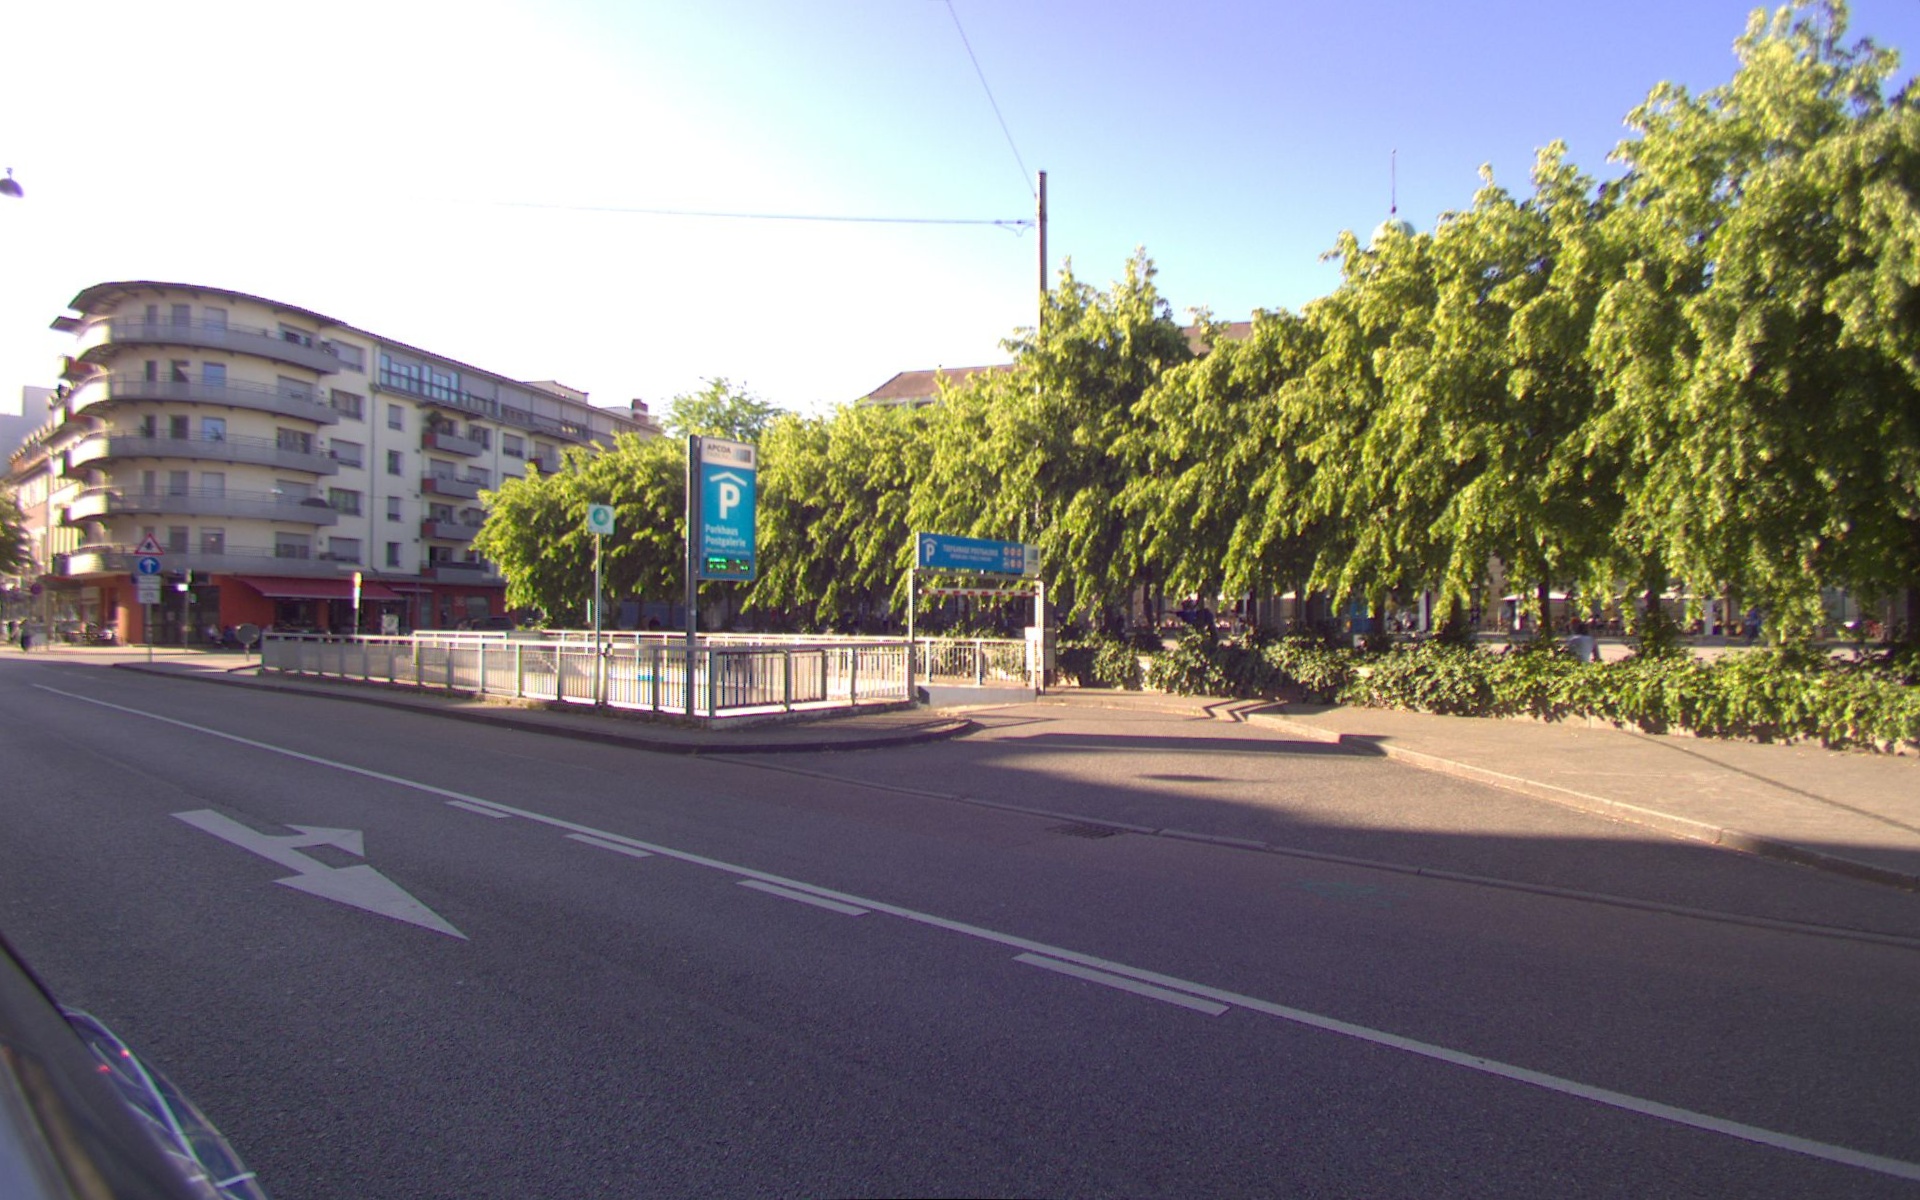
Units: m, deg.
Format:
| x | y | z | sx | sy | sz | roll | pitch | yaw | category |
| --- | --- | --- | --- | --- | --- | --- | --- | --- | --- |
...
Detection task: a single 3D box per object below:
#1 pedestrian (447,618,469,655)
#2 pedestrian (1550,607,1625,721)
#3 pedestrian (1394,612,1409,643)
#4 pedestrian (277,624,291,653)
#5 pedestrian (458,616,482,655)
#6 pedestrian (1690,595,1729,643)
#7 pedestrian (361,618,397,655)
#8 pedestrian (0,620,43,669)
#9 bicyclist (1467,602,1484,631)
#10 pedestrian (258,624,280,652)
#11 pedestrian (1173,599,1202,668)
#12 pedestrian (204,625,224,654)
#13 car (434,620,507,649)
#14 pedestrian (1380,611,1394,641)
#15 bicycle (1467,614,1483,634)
| x | y | z | sx | sy | sz | roll | pitch | yaw | category |
| --- | --- | --- | --- | --- | --- | --- | --- | --- | --- |
| -23.552 | 1.722 | 47.460 | 0.697 | 1.719 | 0.667 | -1 | -1 | 33 | pedestrian |
| 10.049 | 0.998 | 16.207 | 0.885 | 1.771 | 0.738 | 0 | -1 | -39 | pedestrian |
| 28.078 | 1.730 | 64.394 | 0.751 | 1.948 | 0.938 | -1 | -1 | 20 | pedestrian |
| -35.313 | 2.017 | 52.900 | 0.573 | 1.501 | 0.794 | 0 | -1 | -36 | pedestrian |
| -23.249 | 1.674 | 48.016 | 0.753 | 1.819 | 0.748 | -1 | -1 | 25 | pedestrian |
| 27.988 | 0.715 | 37.804 | 0.889 | 1.771 | 0.734 | -1 | -1 | 10 | pedestrian |
| -32.320 | 2.003 | 56.282 | 1.251 | 2.029 | 1.226 | -1 | -1 | 19 | pedestrian |
| -40.207 | 1.872 | 43.310 | 1.004 | 2.029 | 1.203 | -1 | 0 | -15 | pedestrian |
| 26.142 | 0.825 | 51.309 | 0.671 | 1.439 | 0.691 | -1 | -1 | 32 | bicyclist |
| -36.734 | 2.021 | 53.780 | 0.782 | 1.473 | 0.582 | 0 | -1 | 3 | pedestrian |
| 5.722 | 0.834 | 25.505 | 0.672 | 1.683 | 0.843 | -1 | -1 | 13 | pedestrian |
| -37.736 | 1.983 | 51.210 | 0.780 | 1.472 | 0.583 | 0 | -1 | -40 | pedestrian |
| -30.524 | 2.128 | 63.212 | 1.983 | 1.763 | 3.977 | -1 | -1 | 17 | car |
| 27.332 | 1.659 | 64.820 | 0.751 | 1.948 | 0.938 | -1 | -1 | 20 | pedestrian |
| 26.150 | 1.224 | 51.341 | 0.587 | 0.961 | 1.886 | -1 | -2 | 31 | bicycle |
